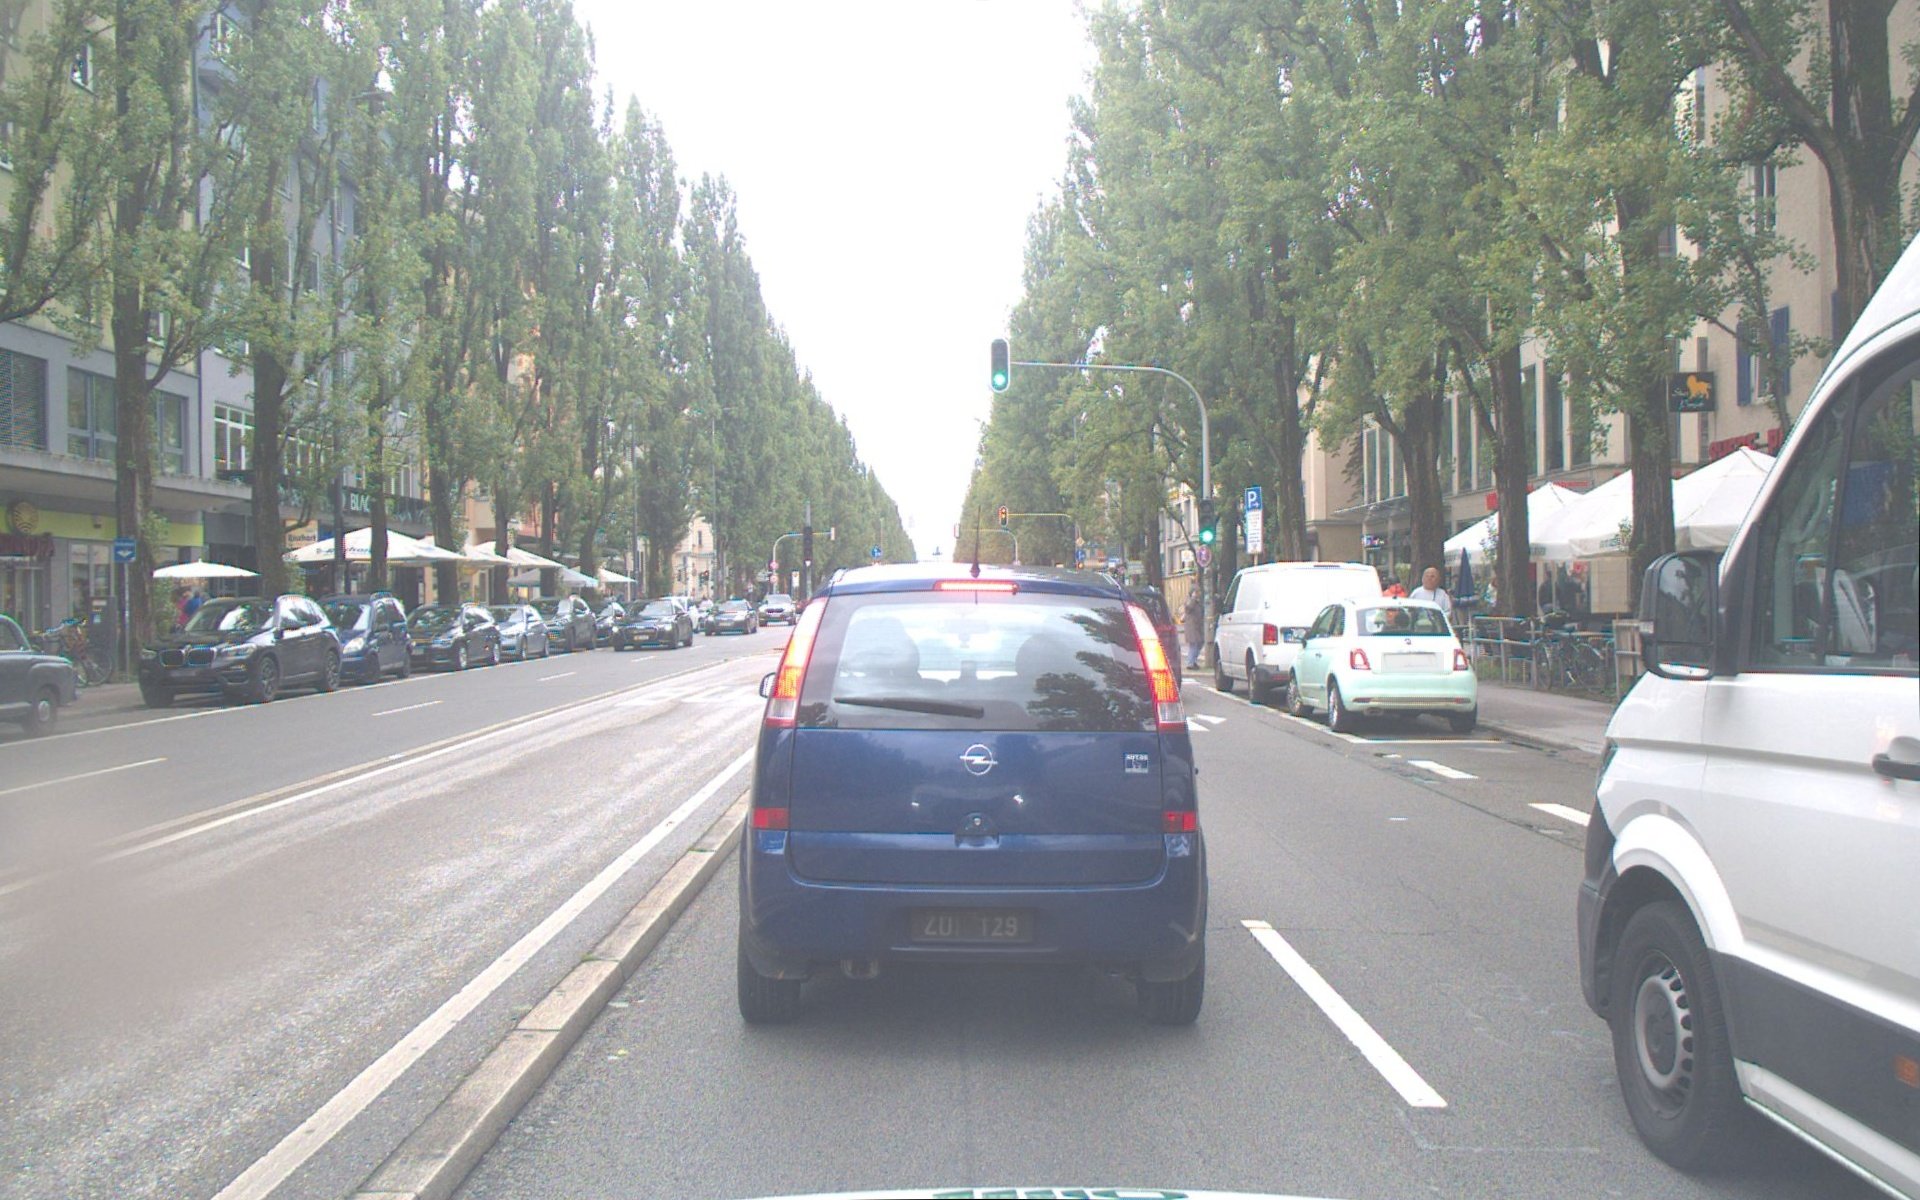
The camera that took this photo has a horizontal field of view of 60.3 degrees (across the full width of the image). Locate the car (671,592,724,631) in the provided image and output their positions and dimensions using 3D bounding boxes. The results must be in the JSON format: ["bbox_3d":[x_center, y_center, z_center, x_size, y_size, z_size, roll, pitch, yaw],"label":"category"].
[{"bbox_3d":[-12.369,0.512,78.219,1.828,1.694,4.119,-2,0,-1],"label":"car"}]

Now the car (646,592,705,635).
[{"bbox_3d":[-12.159,0.548,70.947,1.828,1.694,4.119,-2,0,-1],"label":"car"}]

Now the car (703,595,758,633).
[{"bbox_3d":[-9.431,0.561,68.172,1.710,1.459,4.129,-2,0,-1],"label":"car"}]

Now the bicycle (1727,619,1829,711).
[{"bbox_3d":[9.518,0.737,19.287,0.342,1.013,1.453,-2,0,-4],"label":"bicycle"}]

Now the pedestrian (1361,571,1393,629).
[{"bbox_3d":[12.492,0.015,49.542,0.660,1.715,0.758,-1,-1,-5],"label":"pedestrian"}]

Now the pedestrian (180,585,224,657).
[{"bbox_3d":[-18.507,0.512,40.407,0.740,1.715,0.675,-1,-1,0],"label":"pedestrian"}]

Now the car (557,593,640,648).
[{"bbox_3d":[-12.006,0.656,55.166,1.828,1.694,4.119,-2,0,-1],"label":"car"}]

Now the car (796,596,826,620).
[{"bbox_3d":[-10.875,0.571,120.961,1.828,1.695,4.119,-1,0,-1],"label":"car"}]

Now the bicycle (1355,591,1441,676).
[{"bbox_3d":[7.464,0.541,28.316,0.757,1.372,2.449,-1,0,-1],"label":"bicycle"}]

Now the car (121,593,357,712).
[{"bbox_3d":[-11.597,0.770,26.992,1.828,1.693,4.610,-2,0,-1],"label":"car"}]

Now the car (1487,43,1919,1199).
[{"bbox_3d":[2.767,0.261,2.061,2.021,2.536,6.729,0,0,-1],"label":"car"}]

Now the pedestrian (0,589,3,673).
[{"bbox_3d":[-20.085,0.647,33.723,0.740,1.715,0.675,-1,-1,0],"label":"pedestrian"}]

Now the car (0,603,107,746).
[{"bbox_3d":[-11.684,0.876,18.661,1.828,1.579,4.413,-2,0,-1],"label":"car"}]

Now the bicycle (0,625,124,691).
[{"bbox_3d":[-16.202,1.034,29.744,1.909,1.114,0.718,2,0,-7],"label":"bicycle"}]

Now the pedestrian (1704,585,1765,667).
[{"bbox_3d":[13.010,0.422,27.802,0.625,1.347,0.800,-1,0,-1],"label":"pedestrian"}]

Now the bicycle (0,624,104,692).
[{"bbox_3d":[-16.128,1.004,28.915,1.909,1.114,0.718,2,0,-7],"label":"bicycle"}]

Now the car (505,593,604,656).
[{"bbox_3d":[-11.923,0.679,48.891,1.828,1.694,4.400,-2,0,-1],"label":"car"}]

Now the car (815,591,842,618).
[{"bbox_3d":[-10.494,0.348,132.282,1.953,2.049,3.999,-1,0,-1],"label":"car"}]

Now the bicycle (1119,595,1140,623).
[{"bbox_3d":[8.345,0.440,81.546,0.757,1.372,2.449,-1,0,-1],"label":"bicycle"}]

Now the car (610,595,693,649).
[{"bbox_3d":[-9.308,0.634,50.232,1.663,1.488,4.712,-2,0,-1],"label":"car"}]

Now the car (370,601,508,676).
[{"bbox_3d":[-11.768,0.829,37.655,1.762,1.514,4.349,-2,0,-1],"label":"car"}]

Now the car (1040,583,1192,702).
[{"bbox_3d":[2.253,0.578,24.864,1.858,1.650,3.999,0,0,-1],"label":"car"}]

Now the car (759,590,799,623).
[{"bbox_3d":[-9.549,0.335,87.604,1.735,1.663,4.454,-2,0,-2],"label":"car"}]

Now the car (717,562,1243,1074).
[{"bbox_3d":[0.044,0.672,7.167,1.637,1.596,3.999,0,0,-1],"label":"car"}]

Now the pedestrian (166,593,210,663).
[{"bbox_3d":[-19.301,0.697,41.350,0.740,1.715,0.675,-1,-1,0],"label":"pedestrian"}]

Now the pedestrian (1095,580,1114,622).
[{"bbox_3d":[6.411,0.034,73.541,0.625,1.859,0.885,1,-1,-11],"label":"pedestrian"}]

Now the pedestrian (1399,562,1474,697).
[{"bbox_3d":[6.526,0.397,22.708,0.810,1.804,0.871,-1,0,4],"label":"pedestrian"}]

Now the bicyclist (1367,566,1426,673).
[{"bbox_3d":[7.464,0.328,28.321,0.752,1.797,0.885,-1,0,-1],"label":"bicyclist"}]

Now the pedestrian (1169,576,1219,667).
[{"bbox_3d":[4.474,0.412,31.651,0.843,1.714,0.626,-1,0,-4],"label":"pedestrian"}]

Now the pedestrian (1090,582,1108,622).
[{"bbox_3d":[6.534,0.102,77.884,0.625,1.859,0.885,1,-1,-11],"label":"pedestrian"}]

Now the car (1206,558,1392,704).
[{"bbox_3d":[4.967,0.408,24.866,1.751,1.980,4.729,0,0,-1],"label":"car"}]

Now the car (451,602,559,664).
[{"bbox_3d":[-11.819,0.826,43.214,1.698,1.450,4.142,-2,0,-1],"label":"car"}]

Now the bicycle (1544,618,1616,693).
[{"bbox_3d":[8.769,0.770,23.420,0.342,1.013,1.453,-2,0,-4],"label":"bicycle"}]

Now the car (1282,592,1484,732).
[{"bbox_3d":[4.958,0.676,19.803,1.509,1.518,3.523,0,0,0],"label":"car"}]

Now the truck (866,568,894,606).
[{"bbox_3d":[-7.468,-1.194,154.505,2.334,3.405,7.109,-1,0,-1],"label":"truck"}]

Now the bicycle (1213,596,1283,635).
[{"bbox_3d":[9.556,0.515,54.914,2.182,1.225,0.626,-1,0,-3],"label":"bicycle"}]

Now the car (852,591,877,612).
[{"bbox_3d":[-7.201,0.105,125.166,1.699,1.491,3.364,-1,0,-1],"label":"car"}]

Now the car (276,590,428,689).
[{"bbox_3d":[-11.815,0.725,32.392,1.676,1.751,3.919,-2,0,-4],"label":"car"}]

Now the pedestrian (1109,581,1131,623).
[{"bbox_3d":[7.124,0.087,73.598,0.707,1.859,0.885,1,-1,-11],"label":"pedestrian"}]

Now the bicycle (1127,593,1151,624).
[{"bbox_3d":[8.151,0.387,75.488,0.757,1.372,2.449,-1,0,-1],"label":"bicycle"}]
